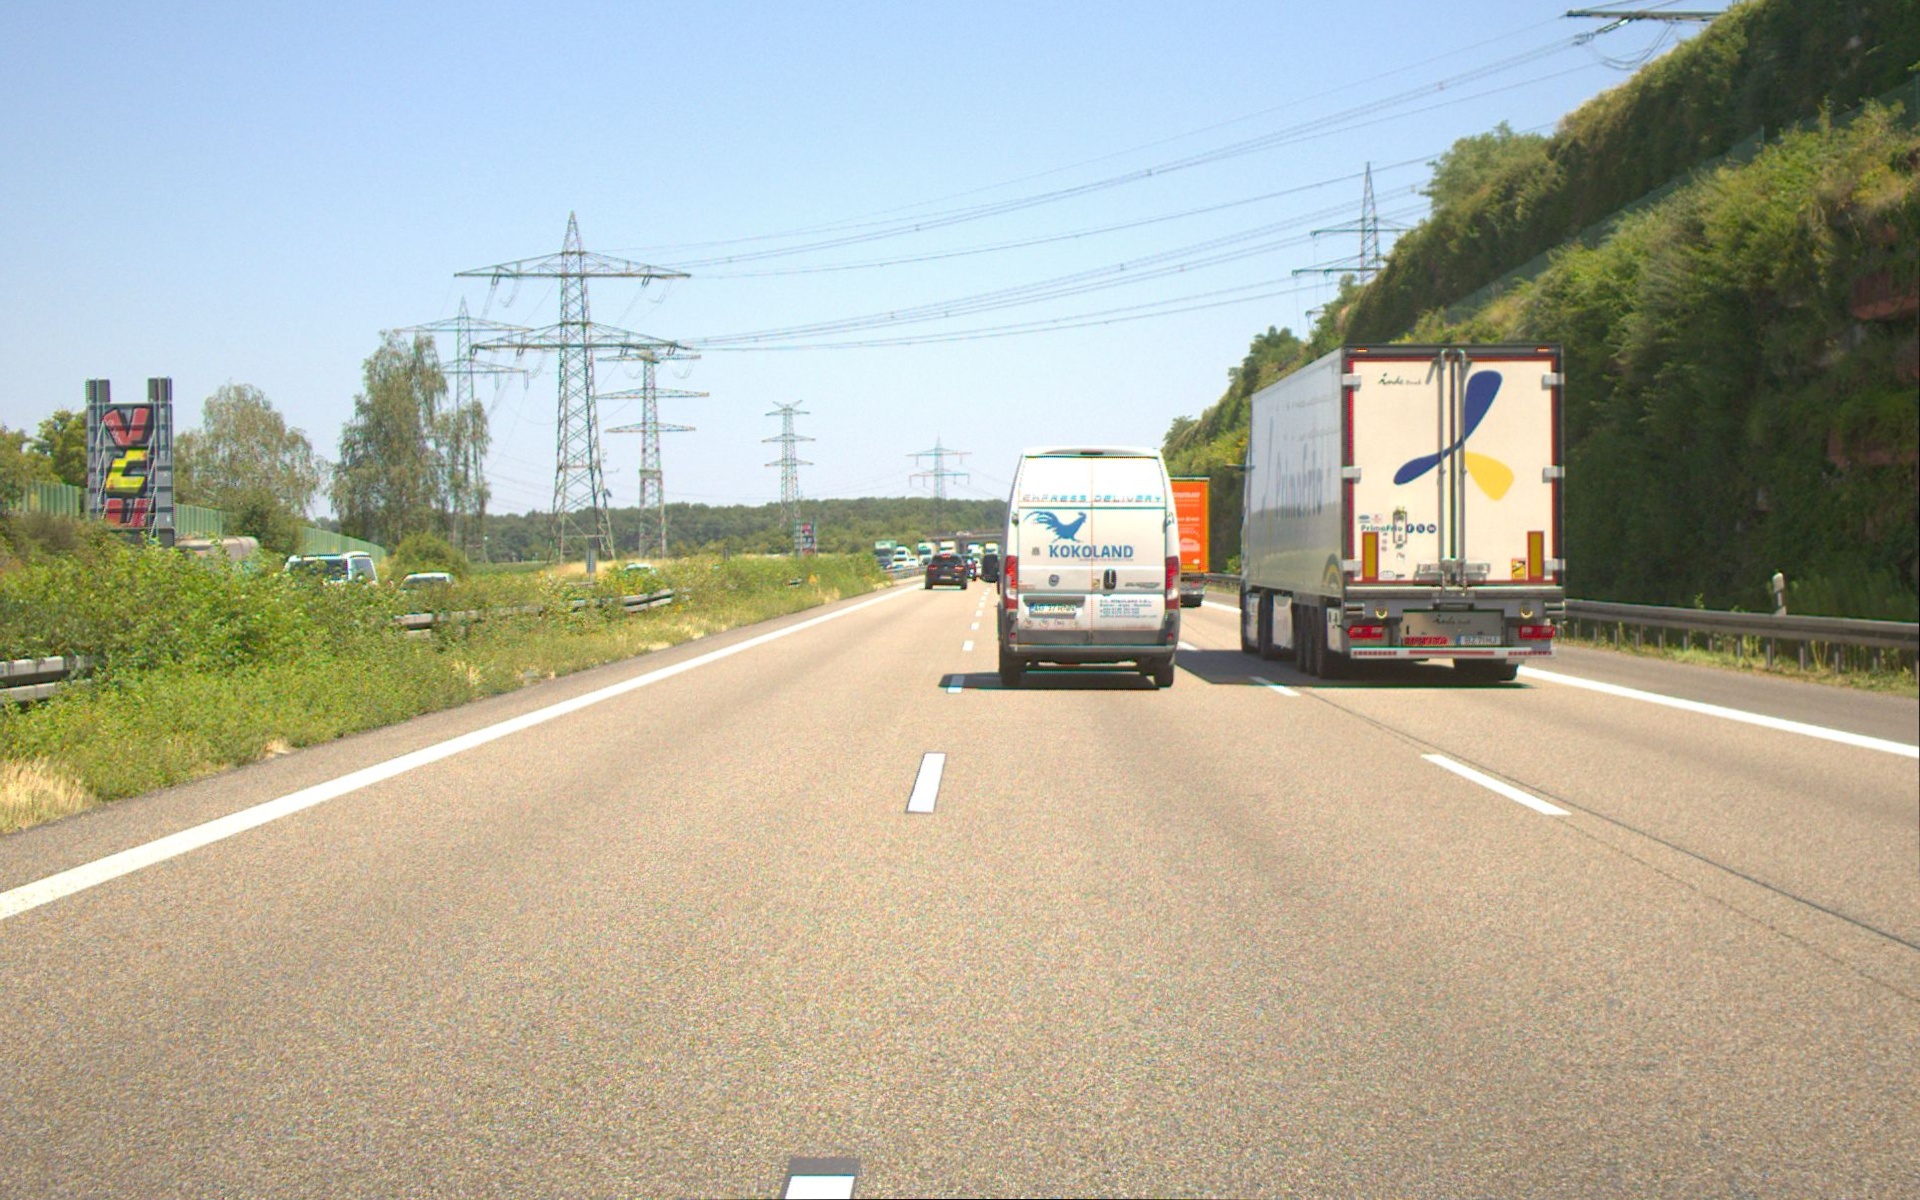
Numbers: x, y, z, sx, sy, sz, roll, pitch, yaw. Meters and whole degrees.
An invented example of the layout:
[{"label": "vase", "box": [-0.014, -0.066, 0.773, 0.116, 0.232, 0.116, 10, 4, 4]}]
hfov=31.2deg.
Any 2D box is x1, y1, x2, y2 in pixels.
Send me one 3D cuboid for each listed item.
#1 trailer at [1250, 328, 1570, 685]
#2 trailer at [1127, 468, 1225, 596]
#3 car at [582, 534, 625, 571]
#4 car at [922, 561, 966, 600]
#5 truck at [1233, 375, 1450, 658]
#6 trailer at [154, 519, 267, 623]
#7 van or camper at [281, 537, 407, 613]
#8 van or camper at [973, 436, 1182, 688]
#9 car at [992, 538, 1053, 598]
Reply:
[{"label": "trailer", "box": [5.695, -1.184, 45.711, 2.637, 4.046, 12.366, 1, 1, 1]}, {"label": "trailer", "box": [6.835, -2.173, 109.587, 2.637, 3.883, 7.069, 1, 1, 1]}, {"label": "car", "box": [-19.975, -2.650, 192.749, 1.967, 2.001, 4.403, 1, 1, 0]}, {"label": "car", "box": [-0.765, -0.953, 165.662, 1.982, 1.811, 3.812, 1, 1, 2]}, {"label": "truck", "box": [5.760, -1.261, 52.779, 2.637, 4.046, 5.800, 1, 1, 1]}, {"label": "trailer", "box": [-19.550, -0.770, 89.833, 1.800, 2.609, 4.407, 1, 1, 2]}, {"label": "van or camper", "box": [-15.066, -0.650, 84.371, 1.966, 1.760, 5.212, 1, 1, 2]}, {"label": "van or camper", "box": [1.333, -0.476, 41.311, 2.230, 2.772, 5.423, 1, 1, 0]}, {"label": "car", "box": [1.969, -1.033, 108.872, 1.795, 1.811, 3.800, 1, 1, 0]}]
